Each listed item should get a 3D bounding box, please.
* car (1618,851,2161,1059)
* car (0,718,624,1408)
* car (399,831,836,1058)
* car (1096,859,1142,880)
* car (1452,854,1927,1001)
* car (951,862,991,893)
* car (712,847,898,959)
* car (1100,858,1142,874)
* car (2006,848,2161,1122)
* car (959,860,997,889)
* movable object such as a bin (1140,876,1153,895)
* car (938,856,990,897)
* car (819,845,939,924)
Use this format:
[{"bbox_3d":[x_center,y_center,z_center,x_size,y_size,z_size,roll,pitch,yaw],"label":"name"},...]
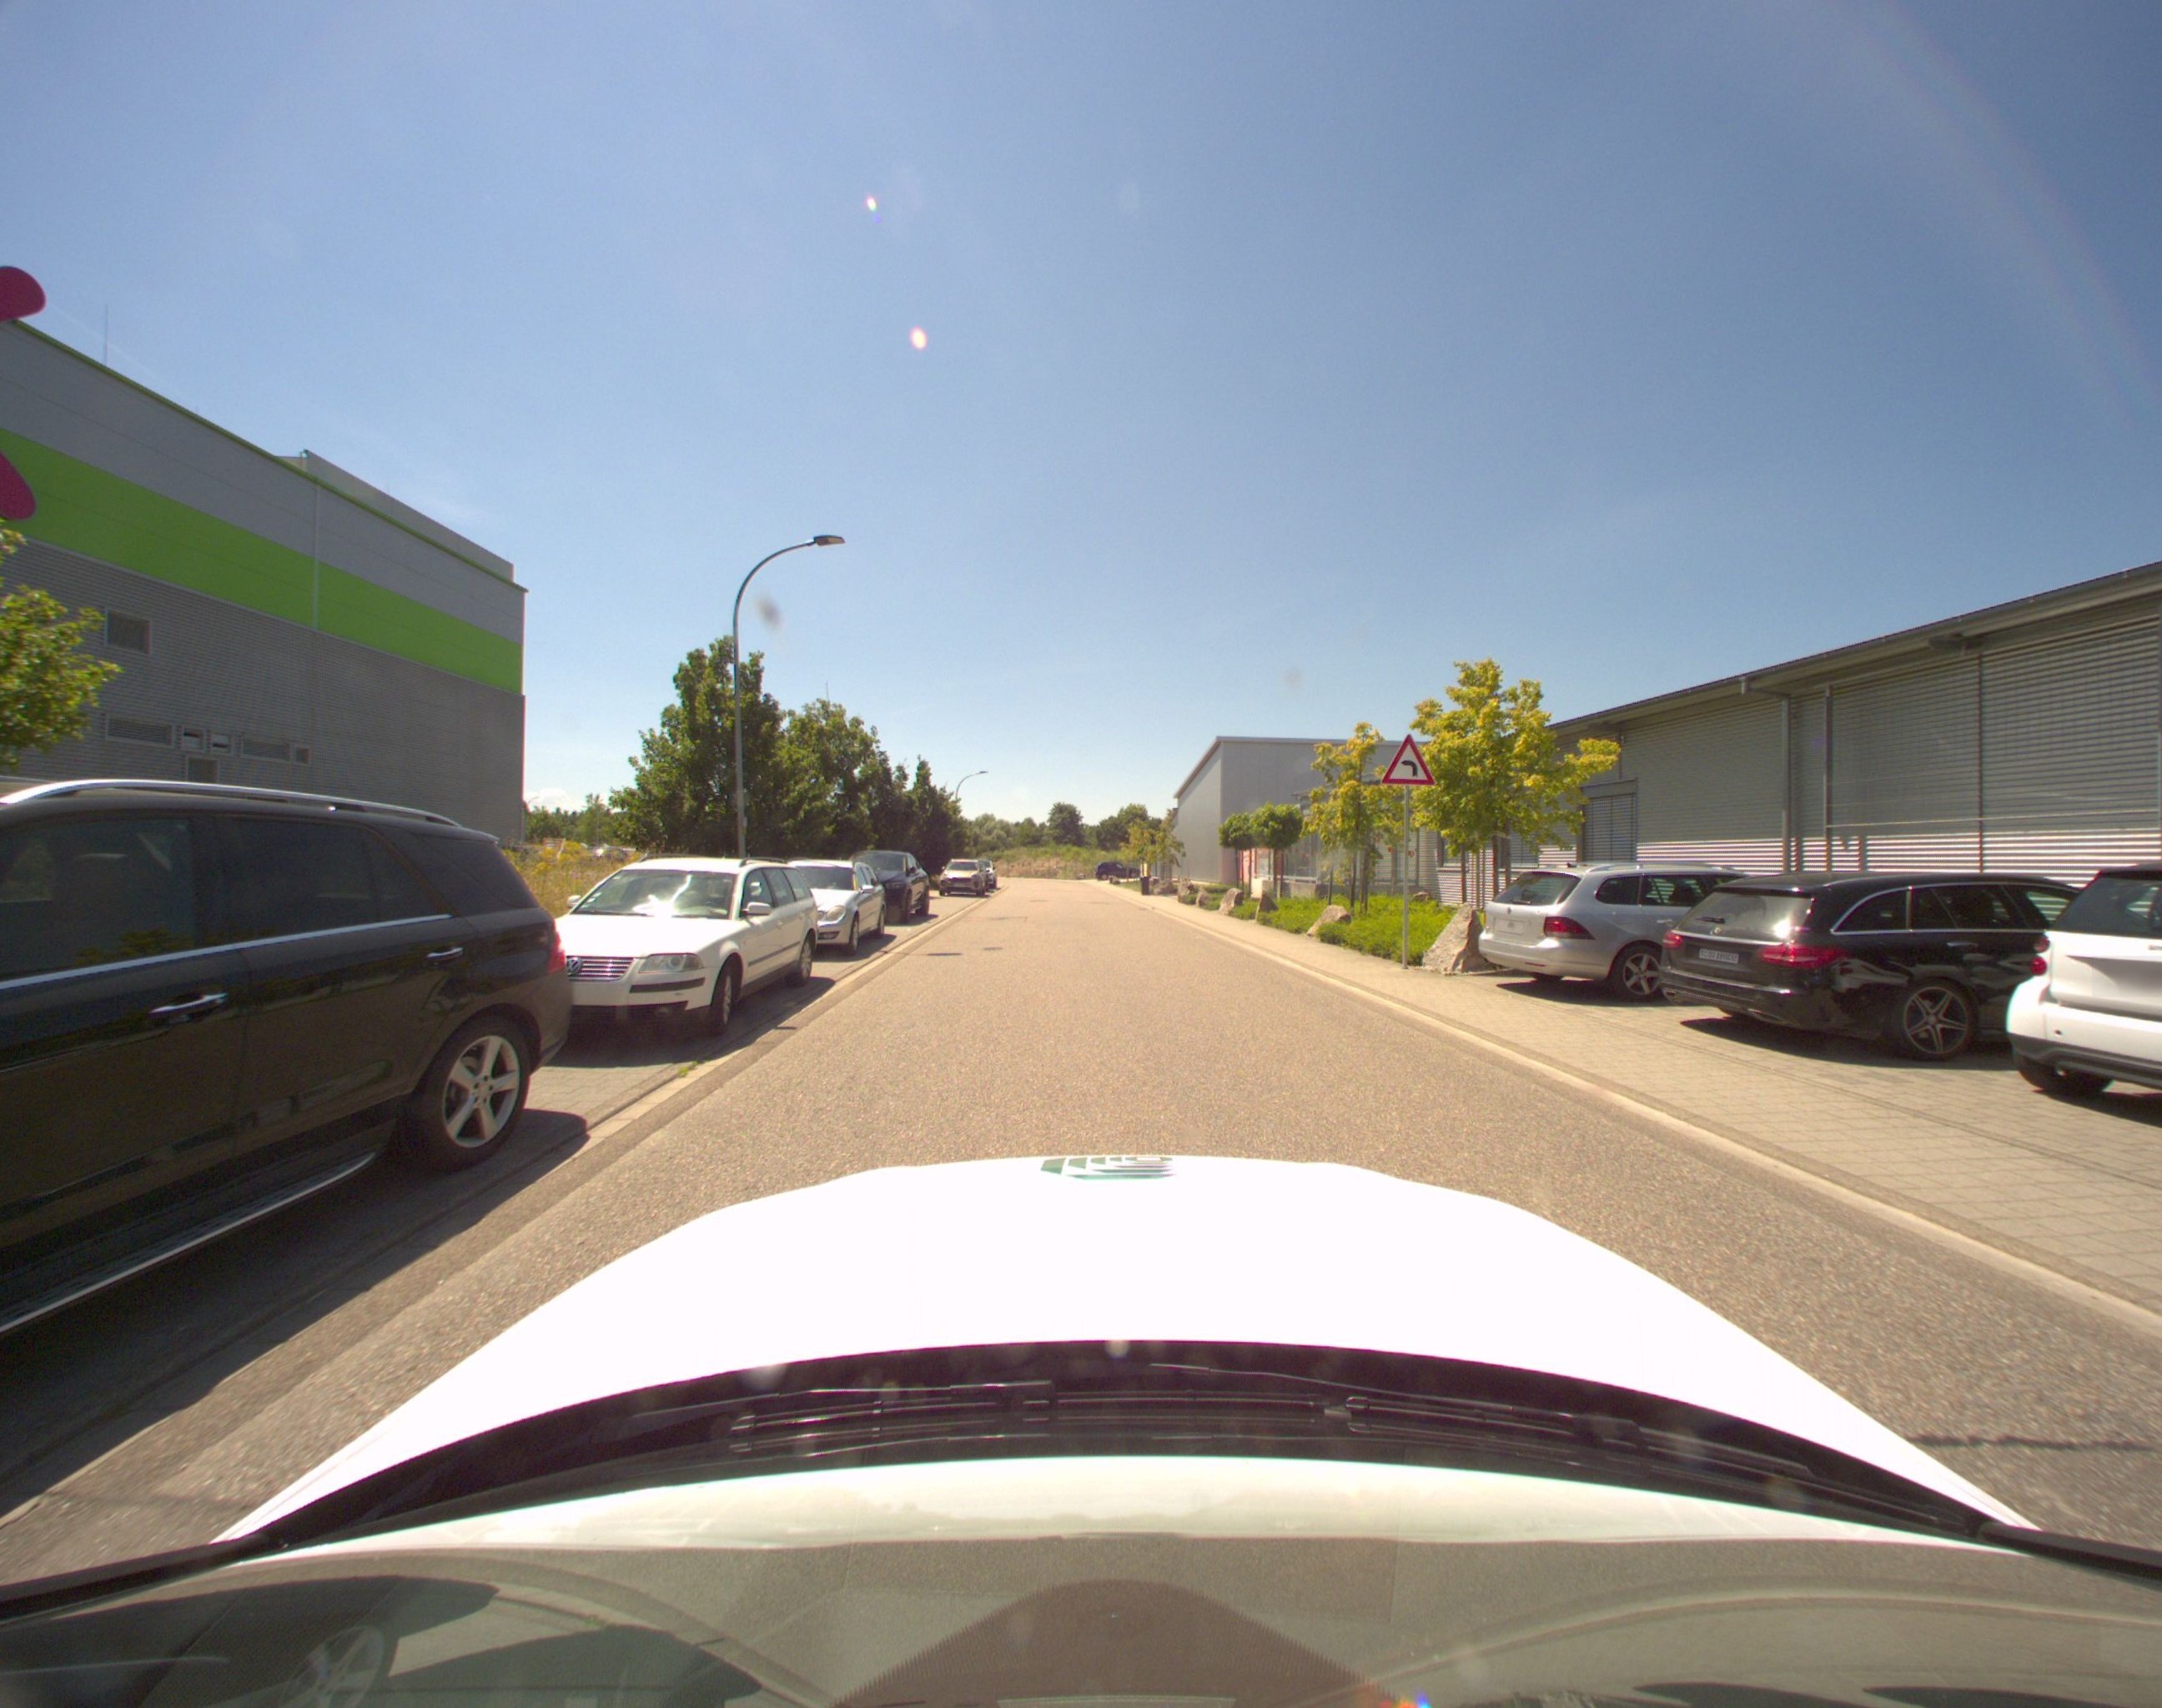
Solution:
[{"bbox_3d":[7.126,0.756,7.093,3.682,1.541,1.911,0,-1,-2],"label":"car"},{"bbox_3d":[-3.666,0.505,2.436,1.847,1.759,4.982,2,-1,-2],"label":"car"},{"bbox_3d":[-3.910,0.648,8.071,1.849,1.519,4.895,2,-1,-6],"label":"car"},{"bbox_3d":[3.444,1.415,74.926,4.002,1.655,1.855,-4,0,-4],"label":"car"},{"bbox_3d":[6.948,0.781,9.643,4.268,1.541,1.911,0,-1,-2],"label":"car"},{"bbox_3d":[-5.881,1.208,43.945,1.910,1.492,4.403,2,-1,-6],"label":"car"},{"bbox_3d":[-4.453,0.706,14.046,1.849,1.519,5.156,2,-1,-6],"label":"car"},{"bbox_3d":[3.989,1.168,81.236,4.002,1.462,1.890,-2,-1,-5],"label":"car"},{"bbox_3d":[7.427,0.735,4.674,2.699,1.541,1.411,0,-1,-2],"label":"car"},{"bbox_3d":[-6.177,1.181,49.393,1.908,1.655,4.748,1,0,-3],"label":"car"},{"bbox_3d":[3.240,1.548,40.066,0.557,0.946,0.538,0,-1,-5],"label":"movable object such as a bin"},{"bbox_3d":[-5.302,0.974,37.349,1.908,1.713,4.407,2,-1,-3],"label":"car"},{"bbox_3d":[-4.987,0.701,20.861,1.987,1.713,5.001,2,-1,-3],"label":"car"}]
